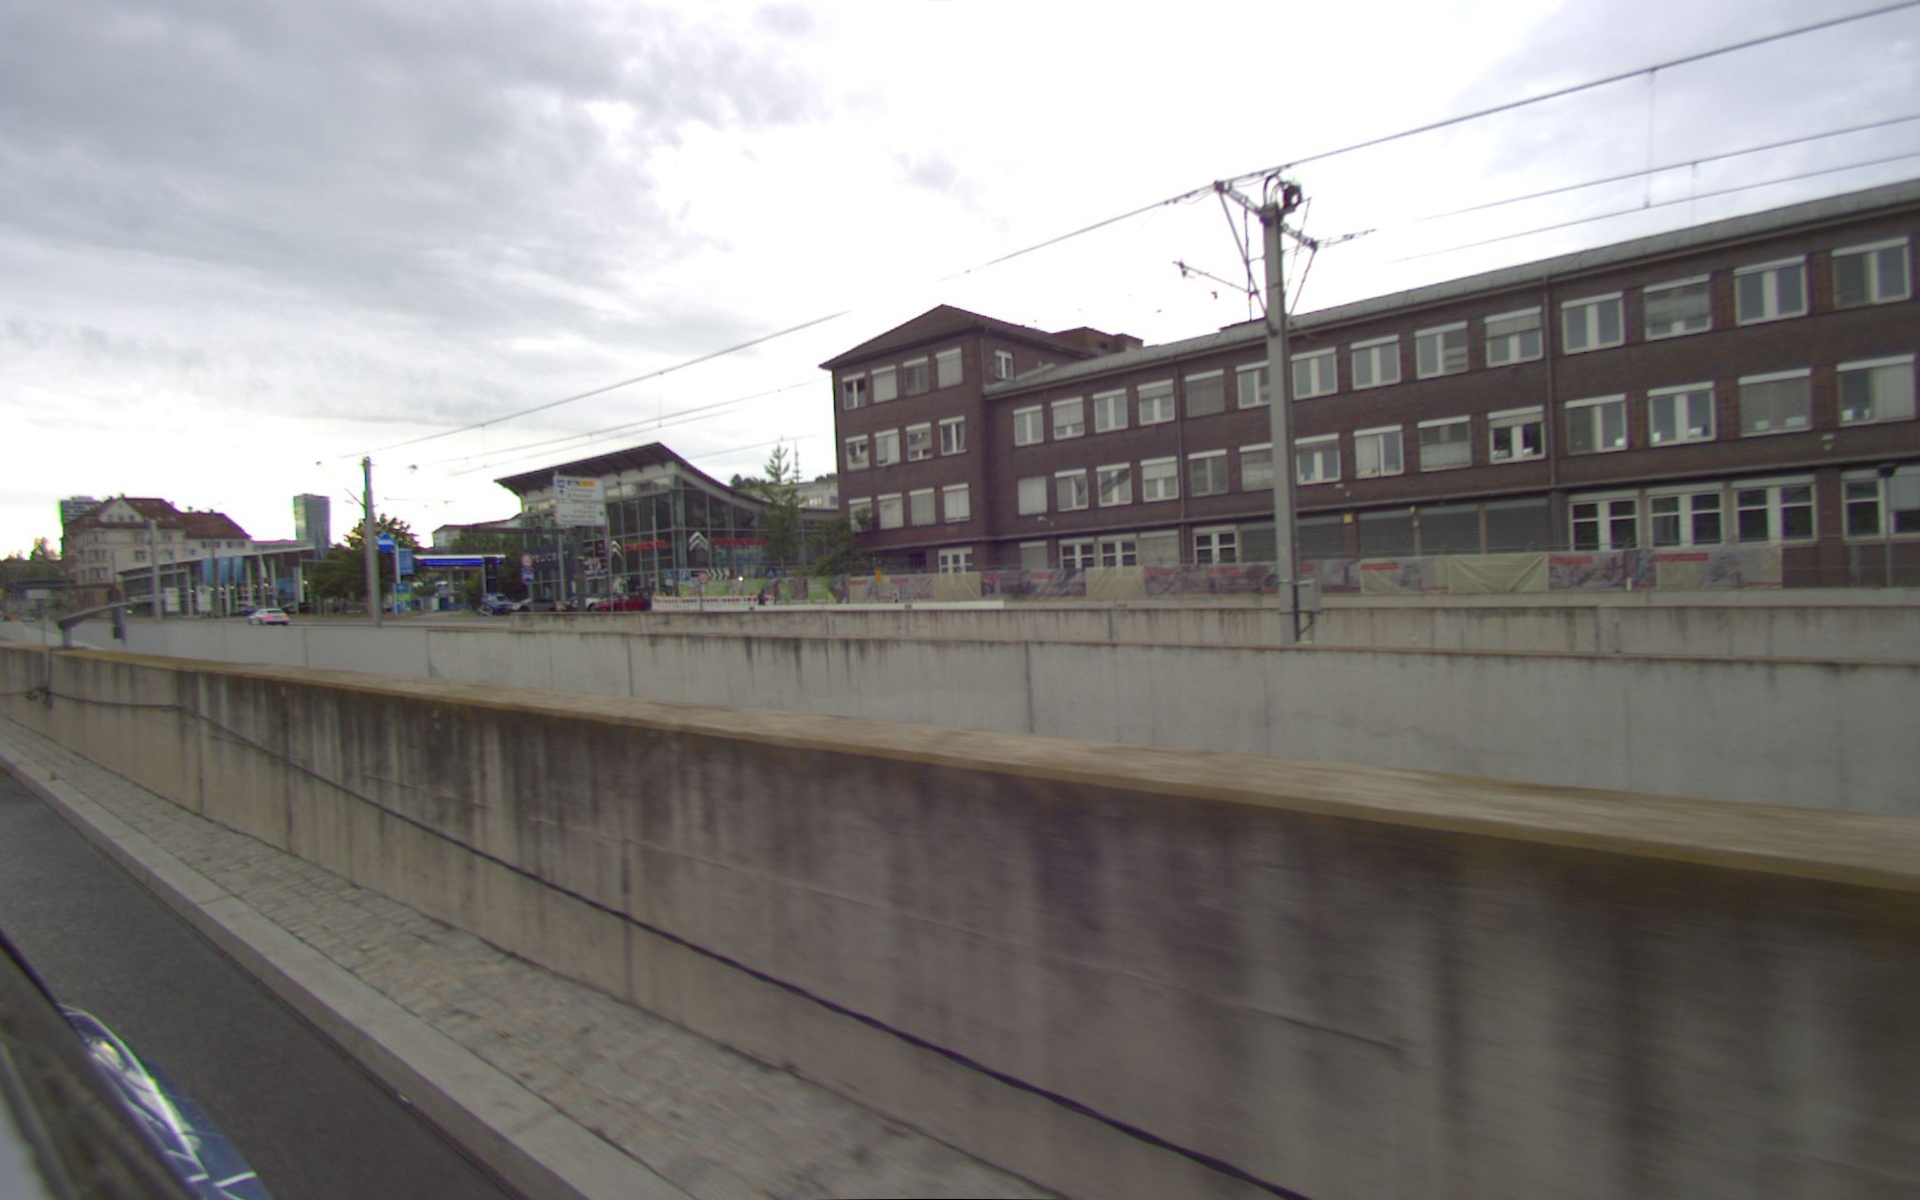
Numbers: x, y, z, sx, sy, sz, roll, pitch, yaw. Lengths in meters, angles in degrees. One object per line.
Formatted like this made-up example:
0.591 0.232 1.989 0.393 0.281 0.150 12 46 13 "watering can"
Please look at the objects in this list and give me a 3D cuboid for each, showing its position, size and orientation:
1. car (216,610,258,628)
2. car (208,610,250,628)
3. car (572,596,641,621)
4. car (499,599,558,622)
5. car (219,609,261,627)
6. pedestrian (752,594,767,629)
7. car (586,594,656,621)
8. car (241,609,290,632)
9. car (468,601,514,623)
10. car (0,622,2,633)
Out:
-90.179 2.385 126.221 1.999 2.029 3.945 -2 0 42 "car"
-93.893 2.436 129.992 1.999 2.029 3.945 -2 0 42 "car"
-26.849 0.639 76.952 1.998 1.773 4.519 -2 0 40 "car"
-35.360 0.847 82.986 1.999 1.785 3.946 -2 1 41 "car"
-91.374 2.284 128.388 1.999 2.029 3.945 -2 0 42 "car"
-11.564 0.651 58.371 0.720 2.029 0.580 -1 0 4 "pedestrian"
-25.118 0.550 75.164 1.998 1.773 4.519 -2 0 40 "car"
-57.345 1.690 83.509 4.574 1.729 2.093 -2 0 39 "car"
-39.598 1.026 85.390 3.996 1.785 1.974 -2 0 39 "car"
-173.637 5.009 181.515 3.997 2.029 2.242 -2 0 41 "car"
